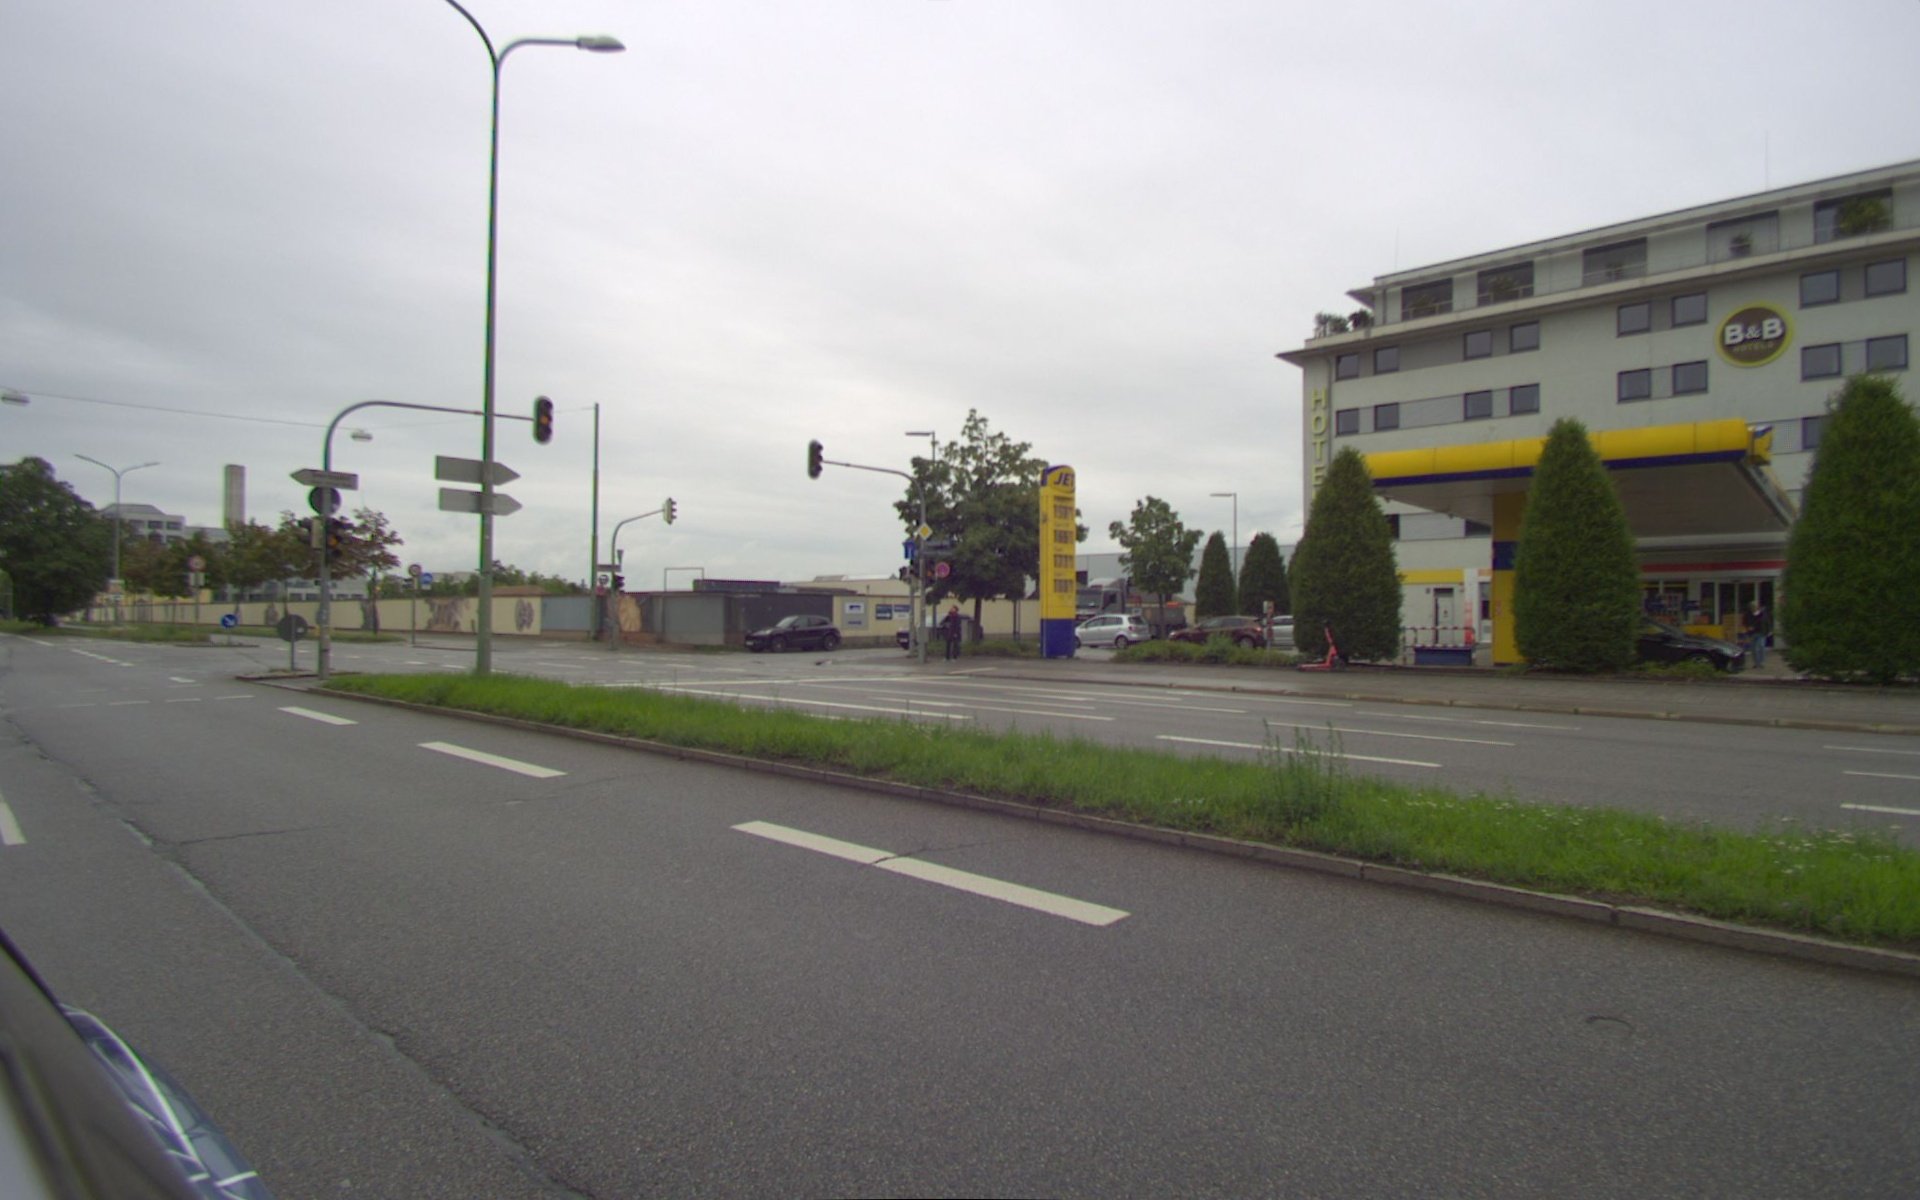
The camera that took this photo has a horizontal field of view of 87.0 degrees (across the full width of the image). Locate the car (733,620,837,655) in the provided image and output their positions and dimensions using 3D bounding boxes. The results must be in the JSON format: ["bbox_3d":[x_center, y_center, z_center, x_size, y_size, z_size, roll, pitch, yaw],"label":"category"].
[{"bbox_3d":[-7.701,1.621,44.766,2.001,1.439,4.202,-1,-2,45],"label":"car"}]

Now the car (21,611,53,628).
[{"bbox_3d":[-88.769,1.879,97.342,4.439,1.519,1.890,-1,-3,43],"label":"car"}]

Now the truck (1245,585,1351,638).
[{"bbox_3d":[26.373,0.894,78.500,2.881,3.861,11.761,-1,-2,45],"label":"truck"}]

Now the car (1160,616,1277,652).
[{"bbox_3d":[10.542,1.380,41.322,4.350,1.394,1.685,-1,-3,33],"label":"car"}]

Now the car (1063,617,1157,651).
[{"bbox_3d":[6.774,1.522,45.767,3.976,1.497,1.606,-1,-3,41],"label":"car"}]

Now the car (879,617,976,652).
[{"bbox_3d":[-1.514,1.621,48.537,2.001,1.544,4.565,-1,-2,45],"label":"car"}]

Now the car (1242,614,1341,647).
[{"bbox_3d":[15.947,1.472,48.777,4.192,1.489,1.882,-1,-3,42],"label":"car"}]

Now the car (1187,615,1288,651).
[{"bbox_3d":[12.096,1.427,44.242,3.979,1.497,1.605,-1,-3,44],"label":"car"}]

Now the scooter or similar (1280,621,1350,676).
[{"bbox_3d":[8.374,1.127,23.924,0.351,1.252,1.547,-2,0,-43],"label":"scooter or similar"}]

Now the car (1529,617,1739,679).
[{"bbox_3d":[16.033,1.114,24.185,3.998,1.342,1.776,-1,-3,41],"label":"car"}]

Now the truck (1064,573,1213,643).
[{"bbox_3d":[11.000,0.535,61.049,2.611,3.885,11.761,-1,-2,45],"label":"truck"}]

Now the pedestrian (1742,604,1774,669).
[{"bbox_3d":[21.497,0.983,27.269,0.643,1.742,0.699,-1,-3,39],"label":"pedestrian"}]

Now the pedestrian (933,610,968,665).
[{"bbox_3d":[-0.289,1.130,30.637,0.687,1.627,0.794,-1,0,42],"label":"pedestrian"}]
